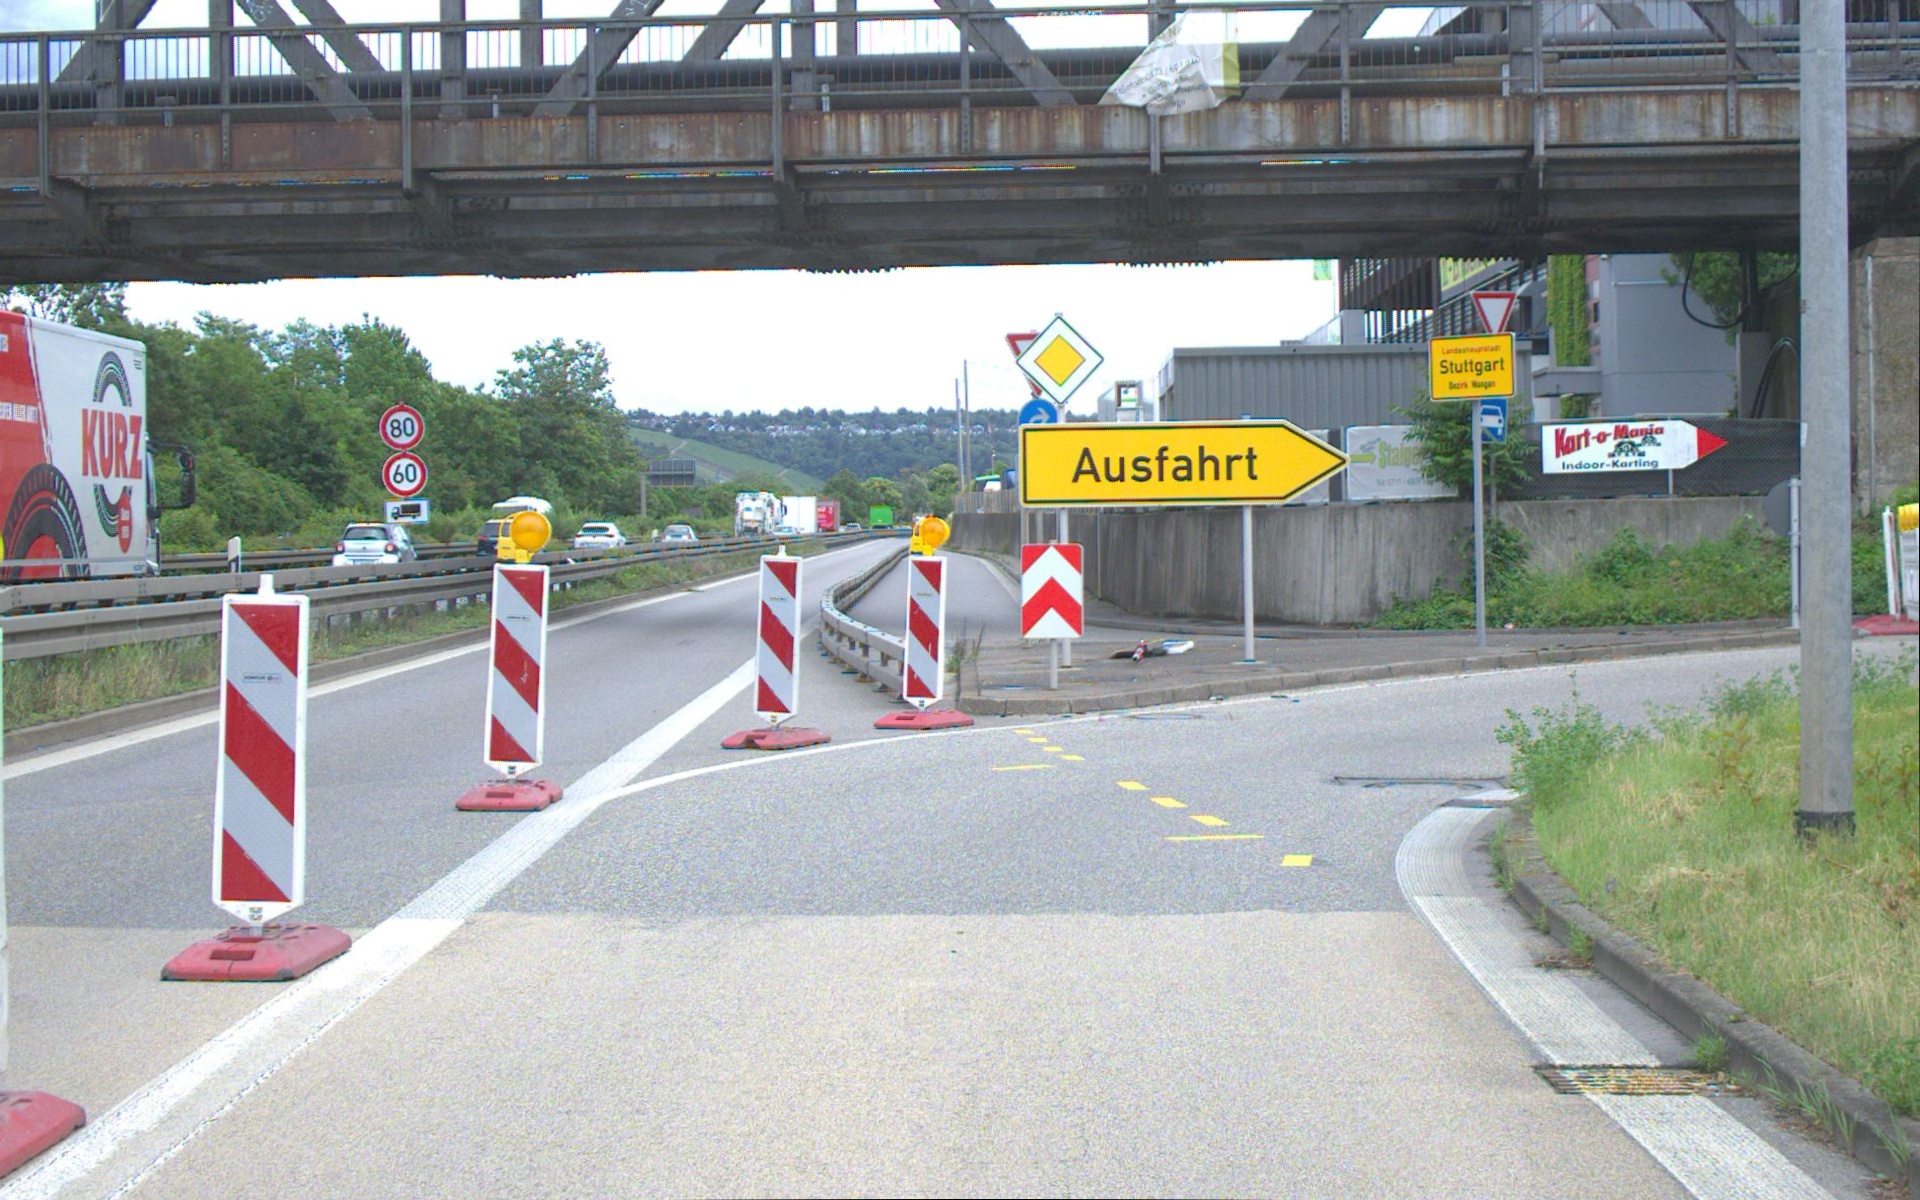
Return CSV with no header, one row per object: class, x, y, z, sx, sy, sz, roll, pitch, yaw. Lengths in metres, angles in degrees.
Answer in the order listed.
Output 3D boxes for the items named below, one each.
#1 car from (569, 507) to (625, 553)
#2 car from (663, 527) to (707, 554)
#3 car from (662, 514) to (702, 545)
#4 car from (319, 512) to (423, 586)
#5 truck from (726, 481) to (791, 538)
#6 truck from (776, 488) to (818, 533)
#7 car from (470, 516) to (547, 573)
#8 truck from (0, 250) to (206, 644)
car,-14.523,-2.814,137.770,1.993,1.809,4.001,0,1,-2
car,-14.491,-3.137,181.559,1.973,1.409,4.600,-1,1,-1
car,-14.359,-3.634,177.752,1.779,1.590,3.750,0,1,0
car,-14.567,-1.260,85.214,1.993,1.753,4.000,-1,1,-2
truck,-13.220,-5.958,226.186,3.720,3.632,7.728,0,1,0
truck,-11.617,-6.359,245.430,2.681,3.129,6.132,1,1,0
car,-14.509,-1.790,110.673,1.993,1.753,4.000,-1,1,-1
truck,-10.288,-1.436,35.034,2.953,3.617,10.154,0,1,0
